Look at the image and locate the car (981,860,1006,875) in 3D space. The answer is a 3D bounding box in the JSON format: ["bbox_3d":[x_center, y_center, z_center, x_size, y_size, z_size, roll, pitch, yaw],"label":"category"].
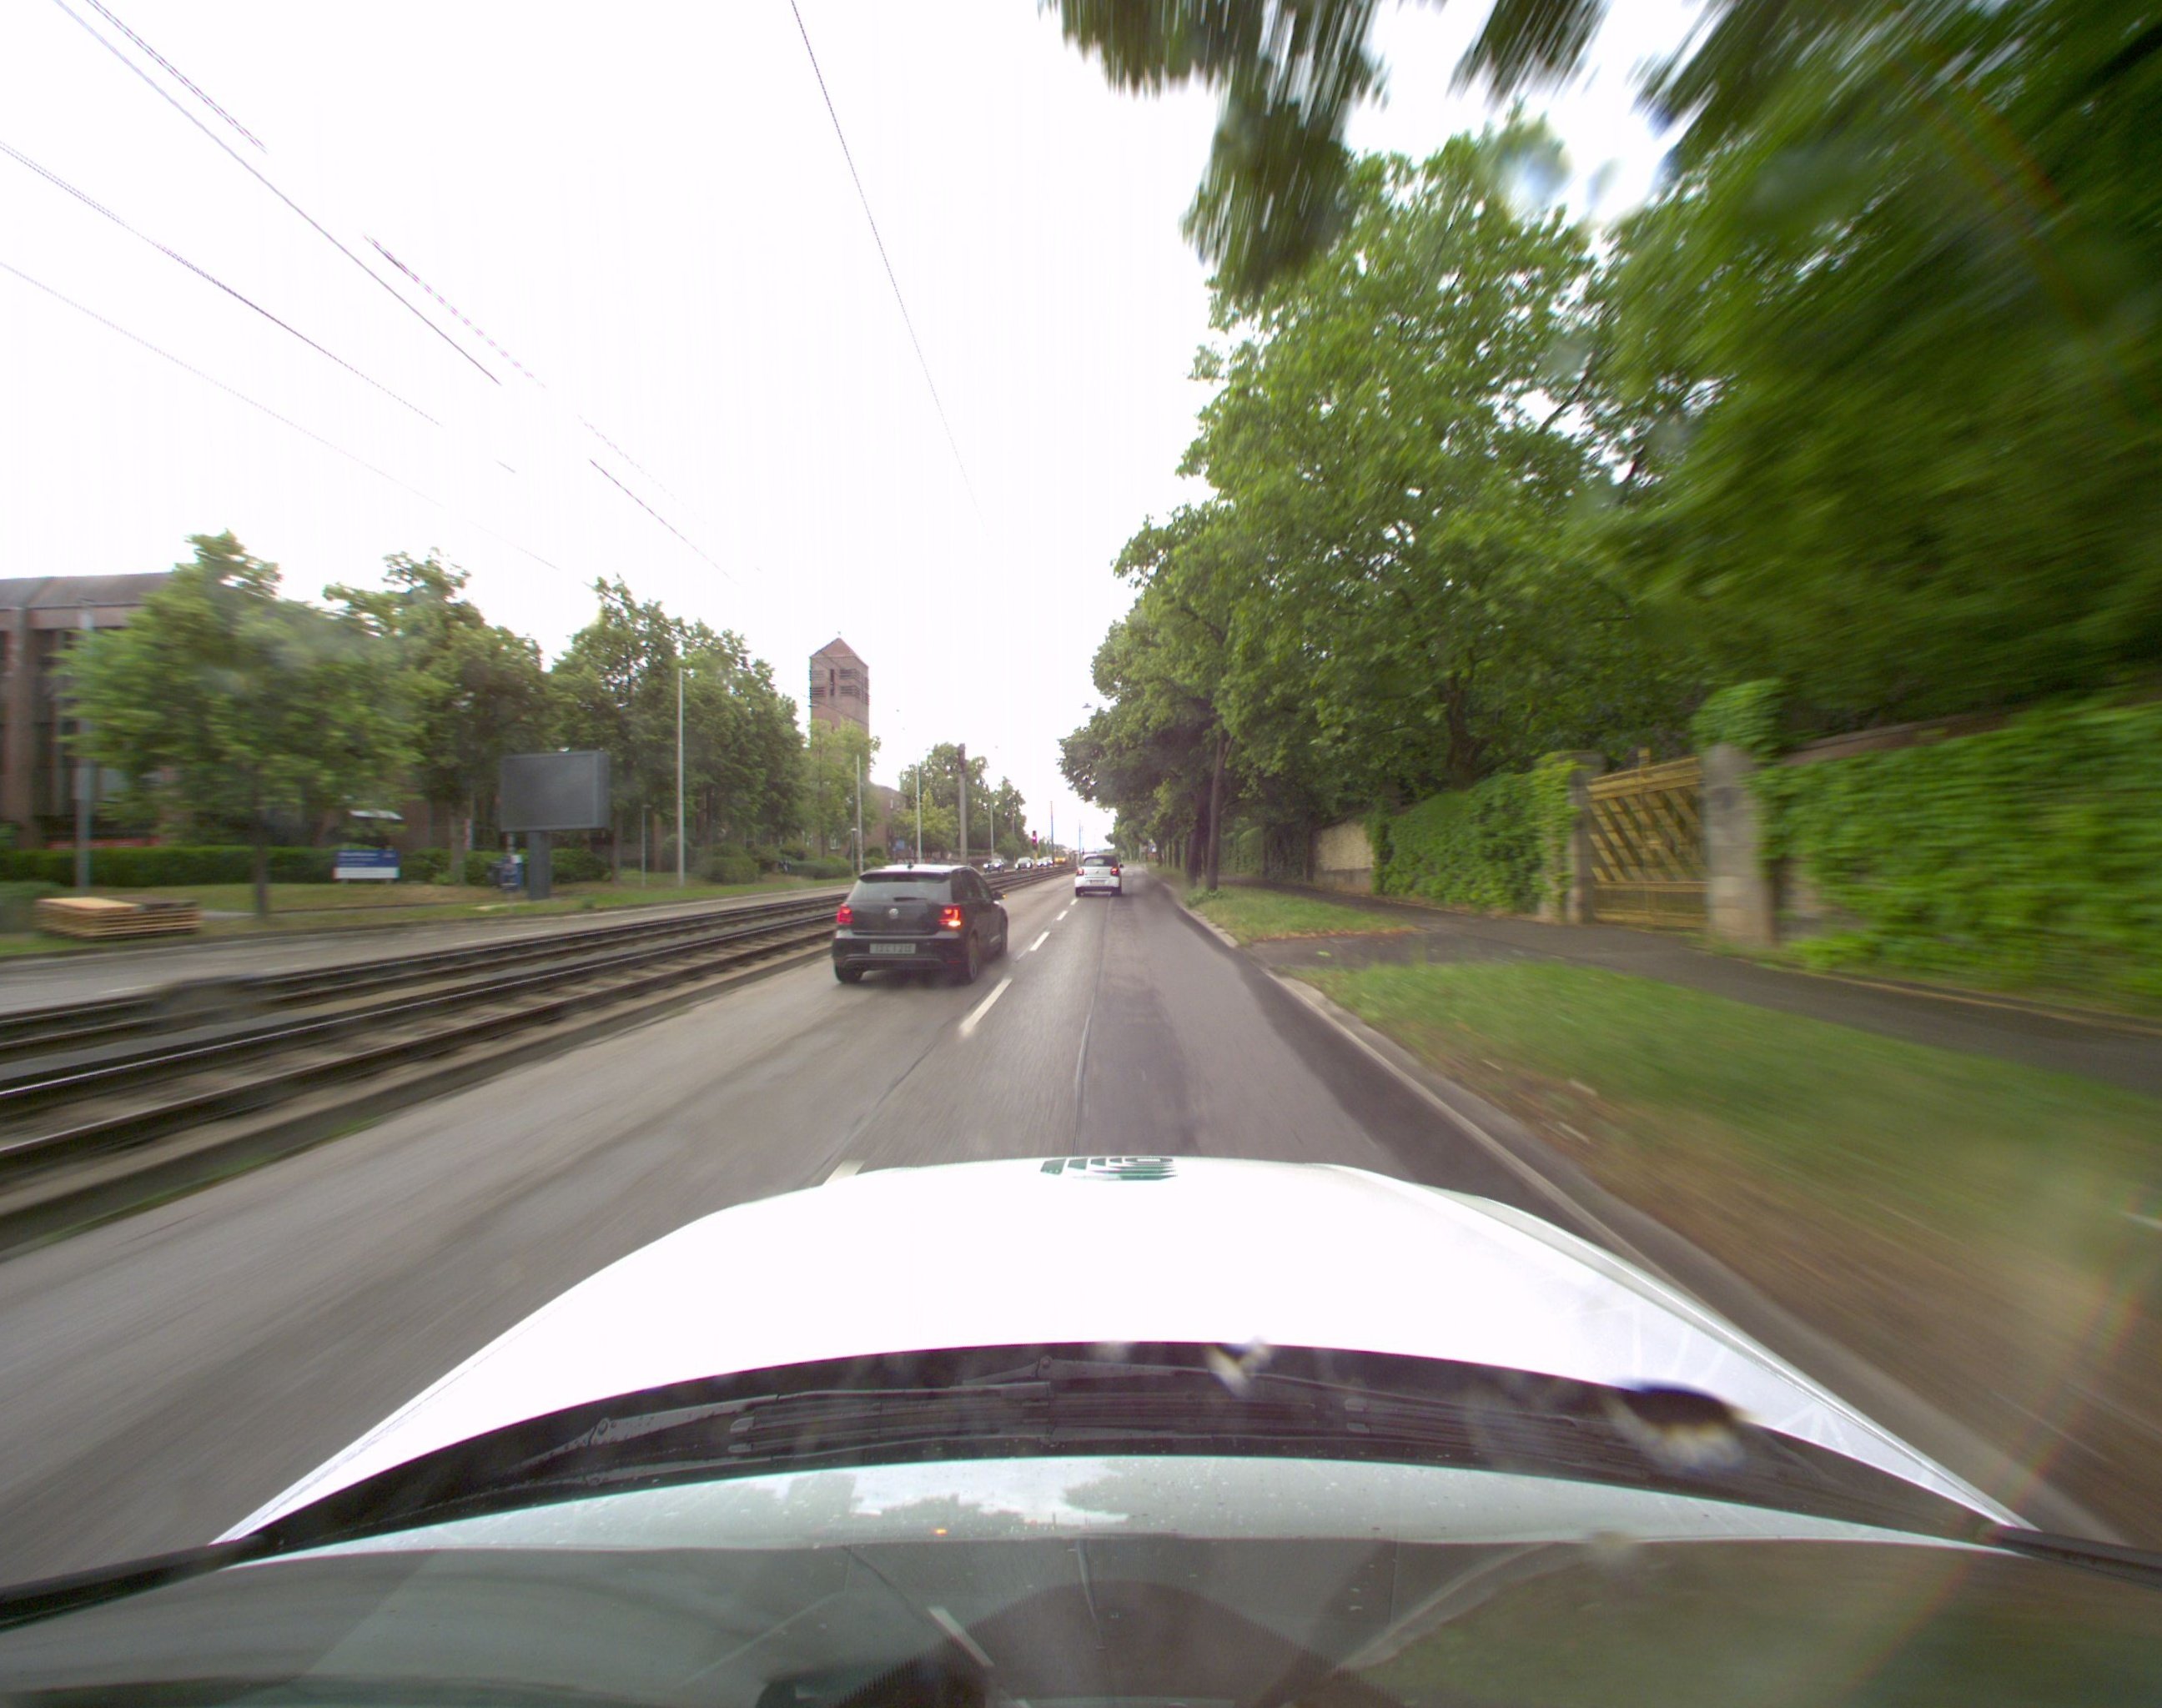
[{"bbox_3d":[-10.384,1.540,97.178,2.002,1.656,4.625,-2,0,6],"label":"car"}]

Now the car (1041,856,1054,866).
[{"bbox_3d":[-5.182,1.014,126.142,1.673,1.461,3.613,-2,0,4],"label":"car"}]

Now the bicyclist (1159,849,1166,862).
[{"bbox_3d":[10.604,0.228,106.021,0.760,1.616,0.999,-2,0,3],"label":"bicyclist"}]

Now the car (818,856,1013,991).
[{"bbox_3d":[-2.031,0.792,11.150,1.787,1.485,3.965,0,0,1],"label":"car"}]

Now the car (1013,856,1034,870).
[{"bbox_3d":[-7.047,1.086,100.255,1.825,1.656,4.247,-2,0,6],"label":"car"}]

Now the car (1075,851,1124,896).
[{"bbox_3d":[0.756,0.744,30.952,1.668,1.531,3.725,-2,-2,4],"label":"car"}]

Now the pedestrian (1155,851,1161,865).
[{"bbox_3d":[16.343,0.822,173.112,1.159,2.977,0.949,0,0,3],"label":"pedestrian"}]

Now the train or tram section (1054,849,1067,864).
[{"bbox_3d":[-4.999,0.694,201.303,2.826,3.605,9.257,0,0,-4],"label":"train or tram section"}]
